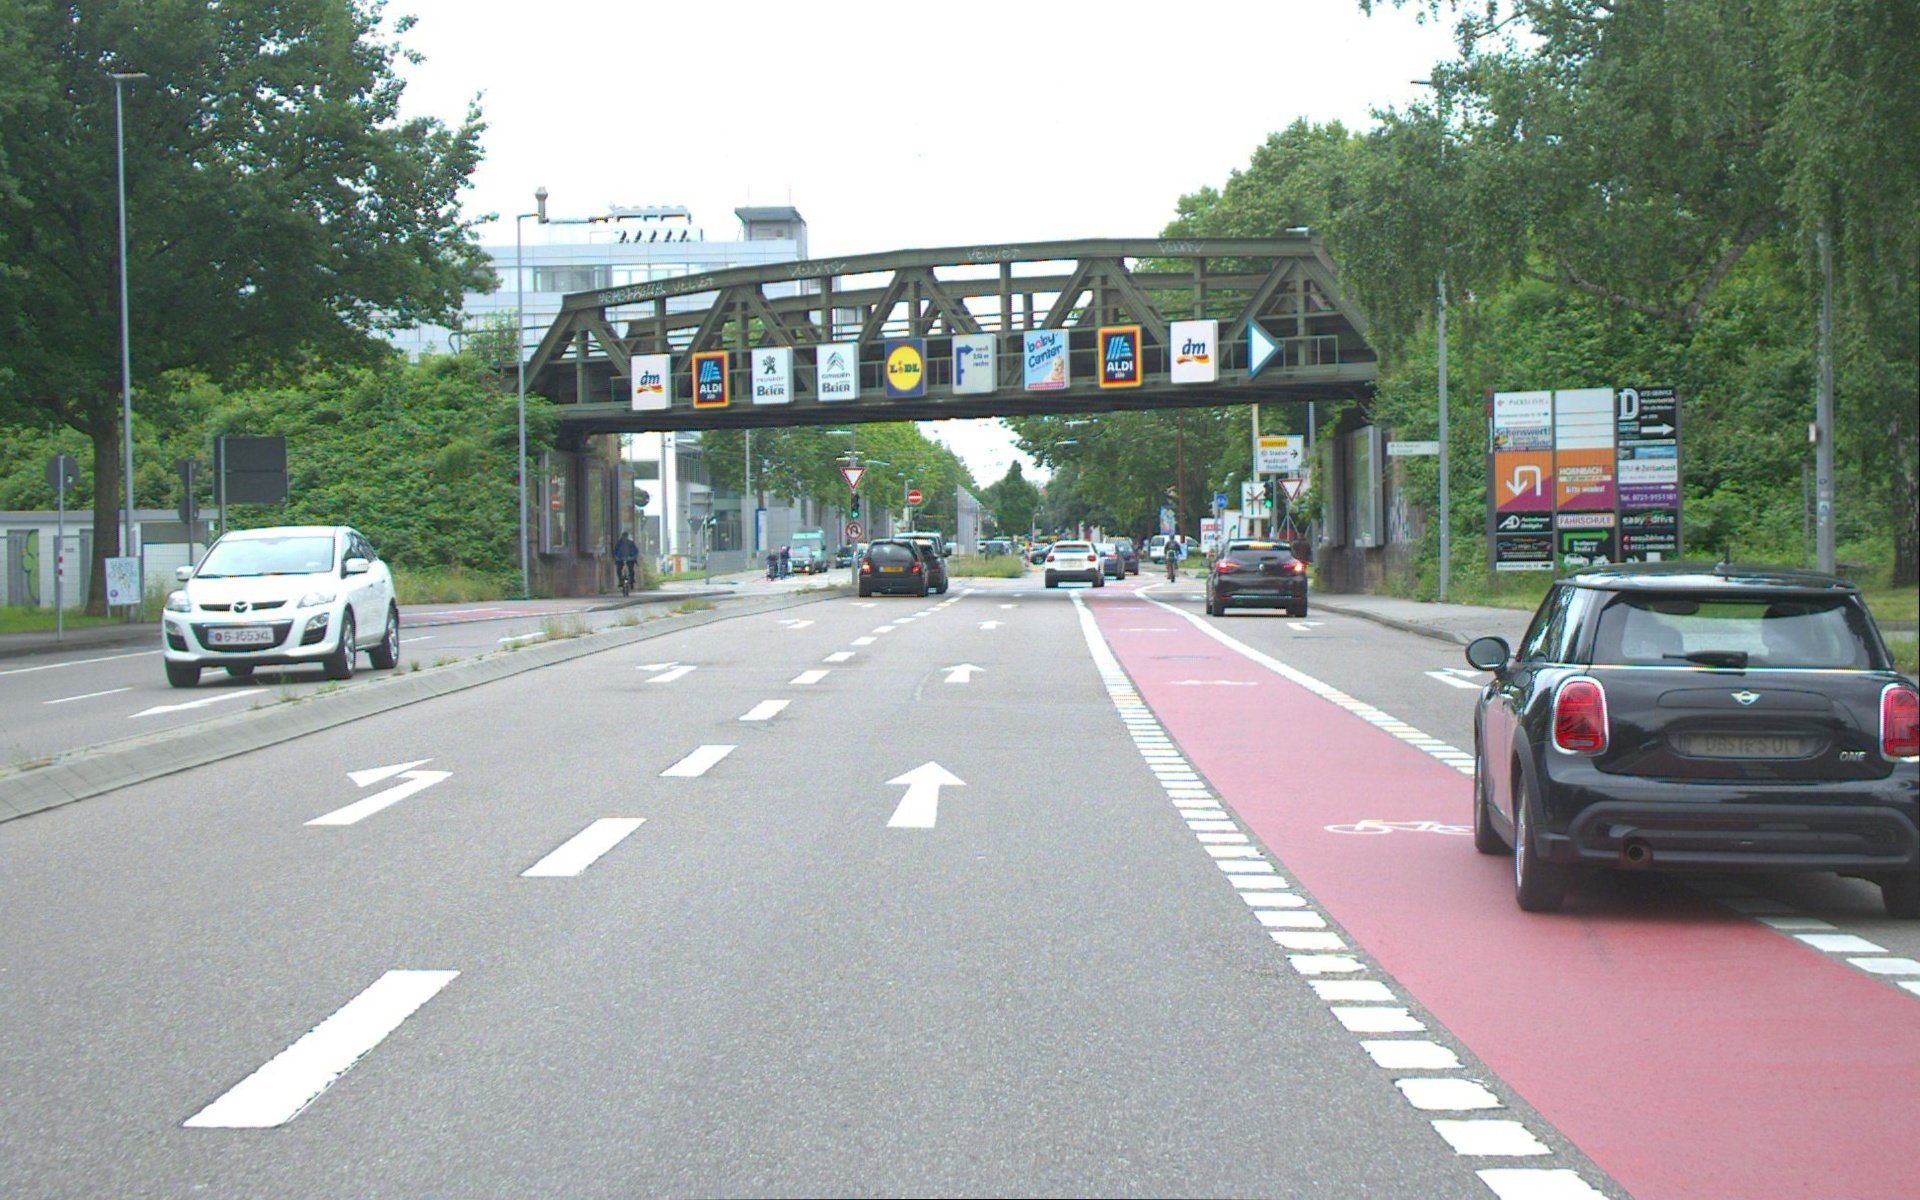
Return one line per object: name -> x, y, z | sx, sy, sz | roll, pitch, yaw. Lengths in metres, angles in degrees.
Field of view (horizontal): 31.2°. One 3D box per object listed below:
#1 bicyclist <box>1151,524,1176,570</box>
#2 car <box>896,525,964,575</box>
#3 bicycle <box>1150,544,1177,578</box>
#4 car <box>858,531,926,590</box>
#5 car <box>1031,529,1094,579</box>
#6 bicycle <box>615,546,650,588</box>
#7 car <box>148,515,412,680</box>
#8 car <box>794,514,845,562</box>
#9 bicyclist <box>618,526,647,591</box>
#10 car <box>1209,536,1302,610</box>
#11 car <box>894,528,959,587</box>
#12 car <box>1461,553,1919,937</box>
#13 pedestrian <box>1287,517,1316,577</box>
bicyclist -> 7.249, -1.878, 122.630 | 0.816, 1.624, 1.235 | -1, 1, 1
car -> -0.973, -1.584, 108.431 | 1.962, 1.522, 5.011 | 0, 1, -2
bicycle -> 7.262, -1.397, 122.636 | 0.816, 1.208, 2.683 | -1, 1, 1
car -> -1.838, -1.073, 92.084 | 1.768, 1.522, 3.670 | 0, 1, -2
car -> 3.347, -1.515, 112.792 | 1.823, 1.595, 3.776 | 0, 1, -2
bicycle -> -9.543, -0.954, 100.138 | 0.713, 1.183, 2.370 | 1, 0, 2
car -> -7.237, -0.080, 37.025 | 1.818, 1.581, 4.513 | -3, 1, 1
car -> -8.438, -3.709, 207.452 | 2.329, 2.816, 5.948 | -1, 1, 4
bicyclist -> -9.534, -1.217, 100.173 | 0.702, 1.868, 1.020 | 1, 0, 2
car -> 5.382, -0.514, 62.847 | 1.647, 1.276, 3.419 | 1, 1, 4
car -> -0.989, -1.253, 99.130 | 1.772, 1.647, 3.670 | 0, 1, -2
car -> 3.165, 0.533, 15.152 | 1.679, 1.426, 3.773 | 1, 1, 5
pedestrian -> 9.385, -1.459, 94.367 | 0.742, 1.634, 0.778 | 0, 1, 9
